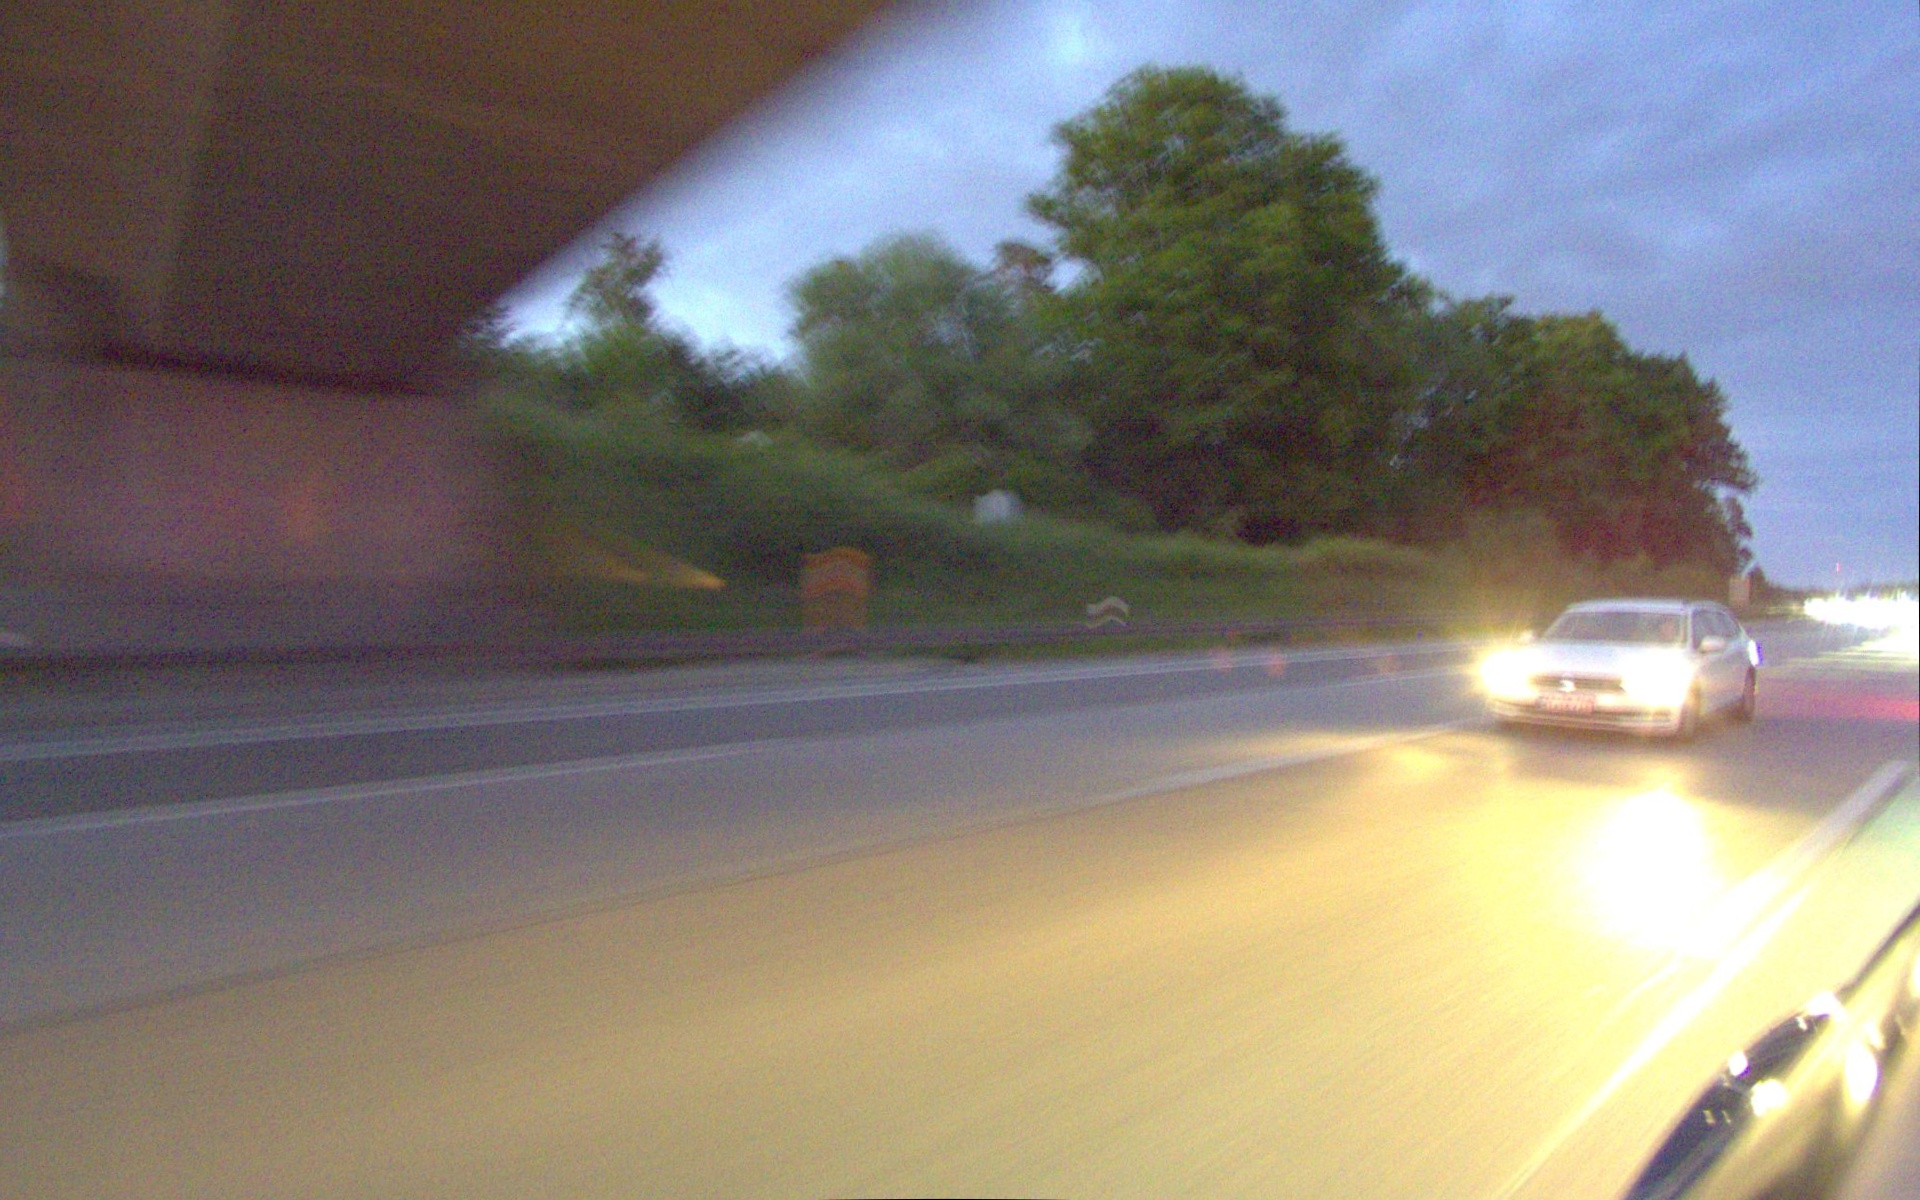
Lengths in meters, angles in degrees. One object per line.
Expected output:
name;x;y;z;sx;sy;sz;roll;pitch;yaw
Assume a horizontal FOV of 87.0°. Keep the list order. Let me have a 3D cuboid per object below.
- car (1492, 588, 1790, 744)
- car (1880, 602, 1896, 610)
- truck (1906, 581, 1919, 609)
car;8.252;0.630;12.045;5.044;1.484;1.811;0;0;-42
car;157.981;1.035;172.247;1.815;1.398;3.977;0;0;45
truck;143.697;-0.674;151.370;3.137;4.062;10.375;0;0;44
